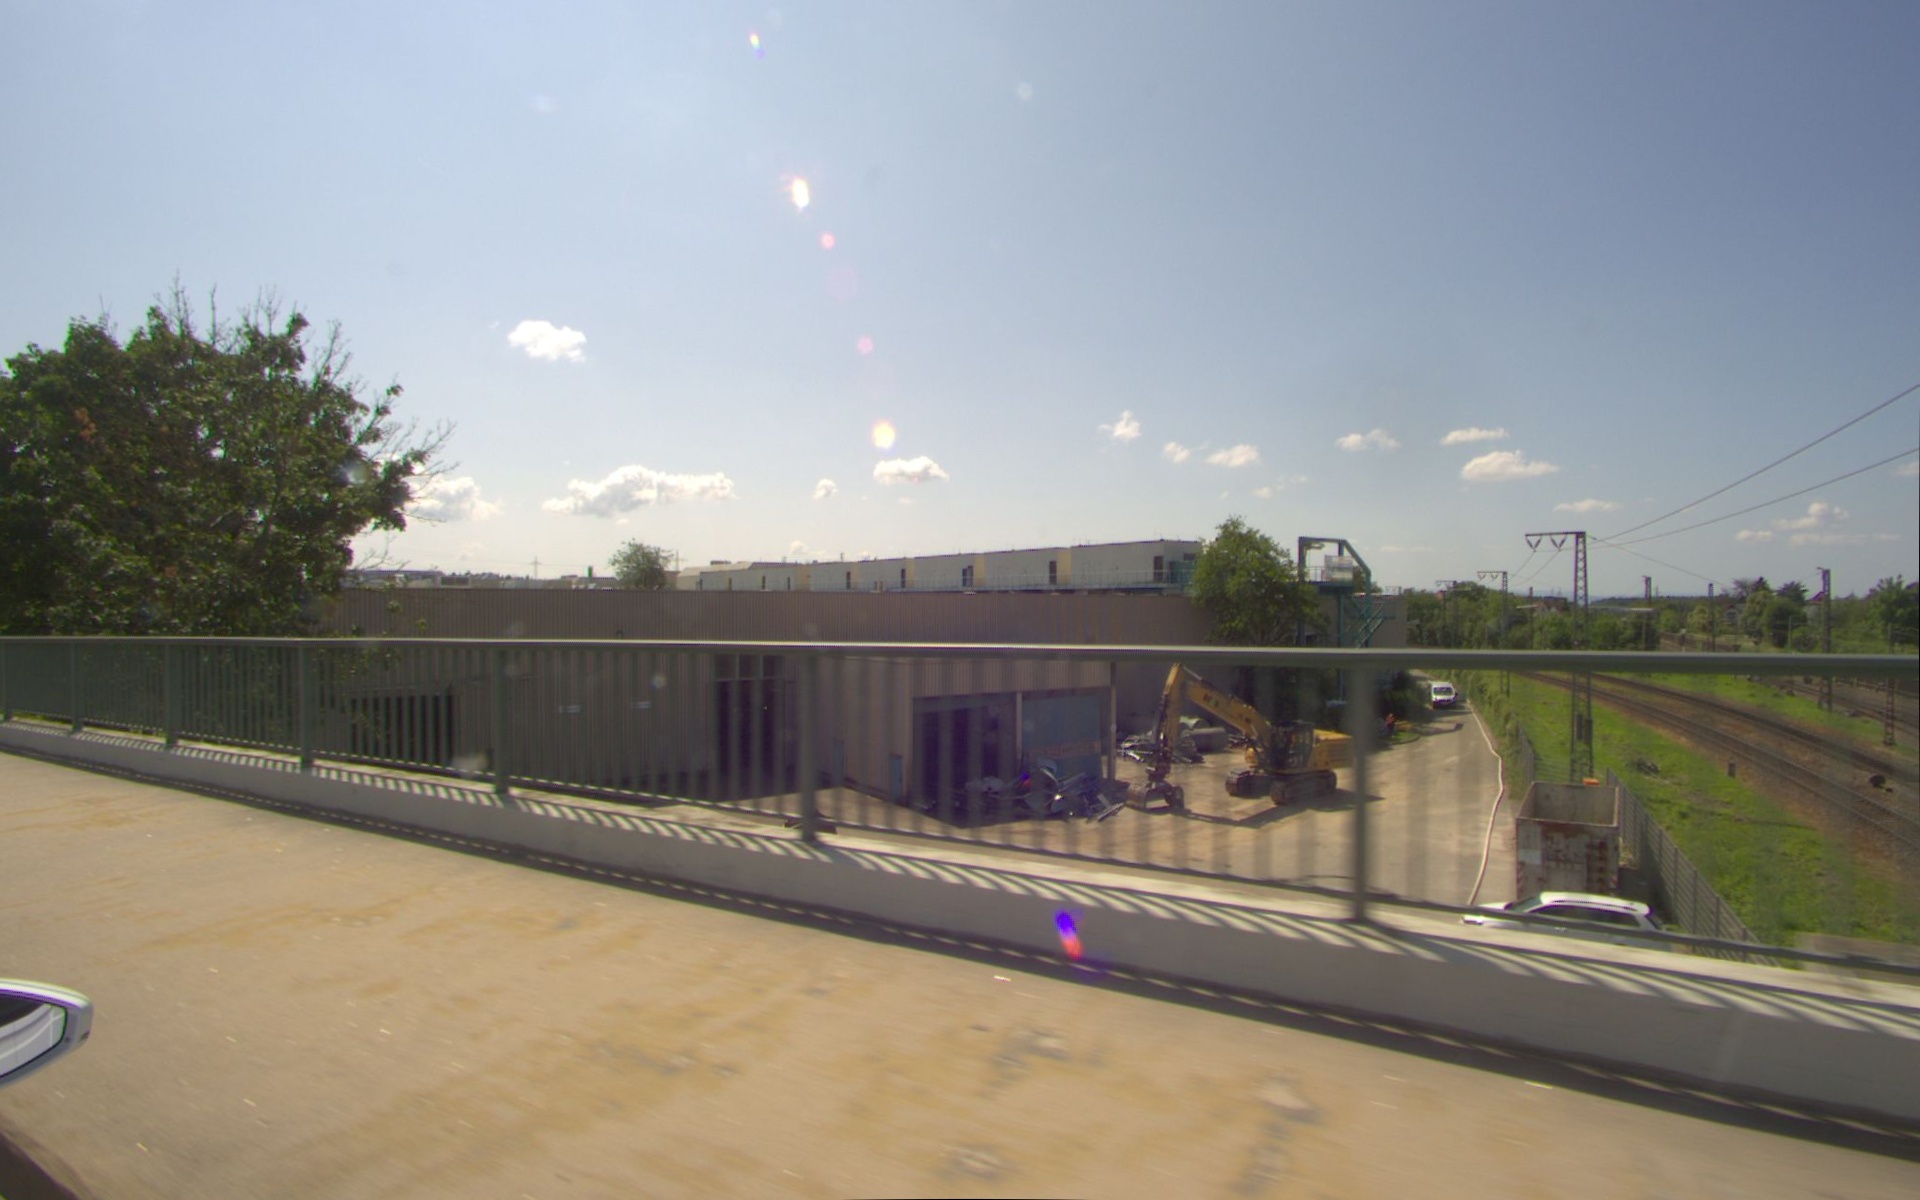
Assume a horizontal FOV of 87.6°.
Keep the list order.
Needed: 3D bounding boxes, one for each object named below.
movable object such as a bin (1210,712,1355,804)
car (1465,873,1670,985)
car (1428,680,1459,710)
[{"bbox_3d":[15.011,7.218,46.567,6.140,3.334,3.227,1,1,-33],"label":"movable object such as a bin"},{"bbox_3d":[15.006,8.077,24.912,4.182,1.614,1.992,0,-4,32],"label":"car"},{"bbox_3d":[40.589,7.947,84.112,1.965,2.041,3.989,0,1,21],"label":"car"}]
